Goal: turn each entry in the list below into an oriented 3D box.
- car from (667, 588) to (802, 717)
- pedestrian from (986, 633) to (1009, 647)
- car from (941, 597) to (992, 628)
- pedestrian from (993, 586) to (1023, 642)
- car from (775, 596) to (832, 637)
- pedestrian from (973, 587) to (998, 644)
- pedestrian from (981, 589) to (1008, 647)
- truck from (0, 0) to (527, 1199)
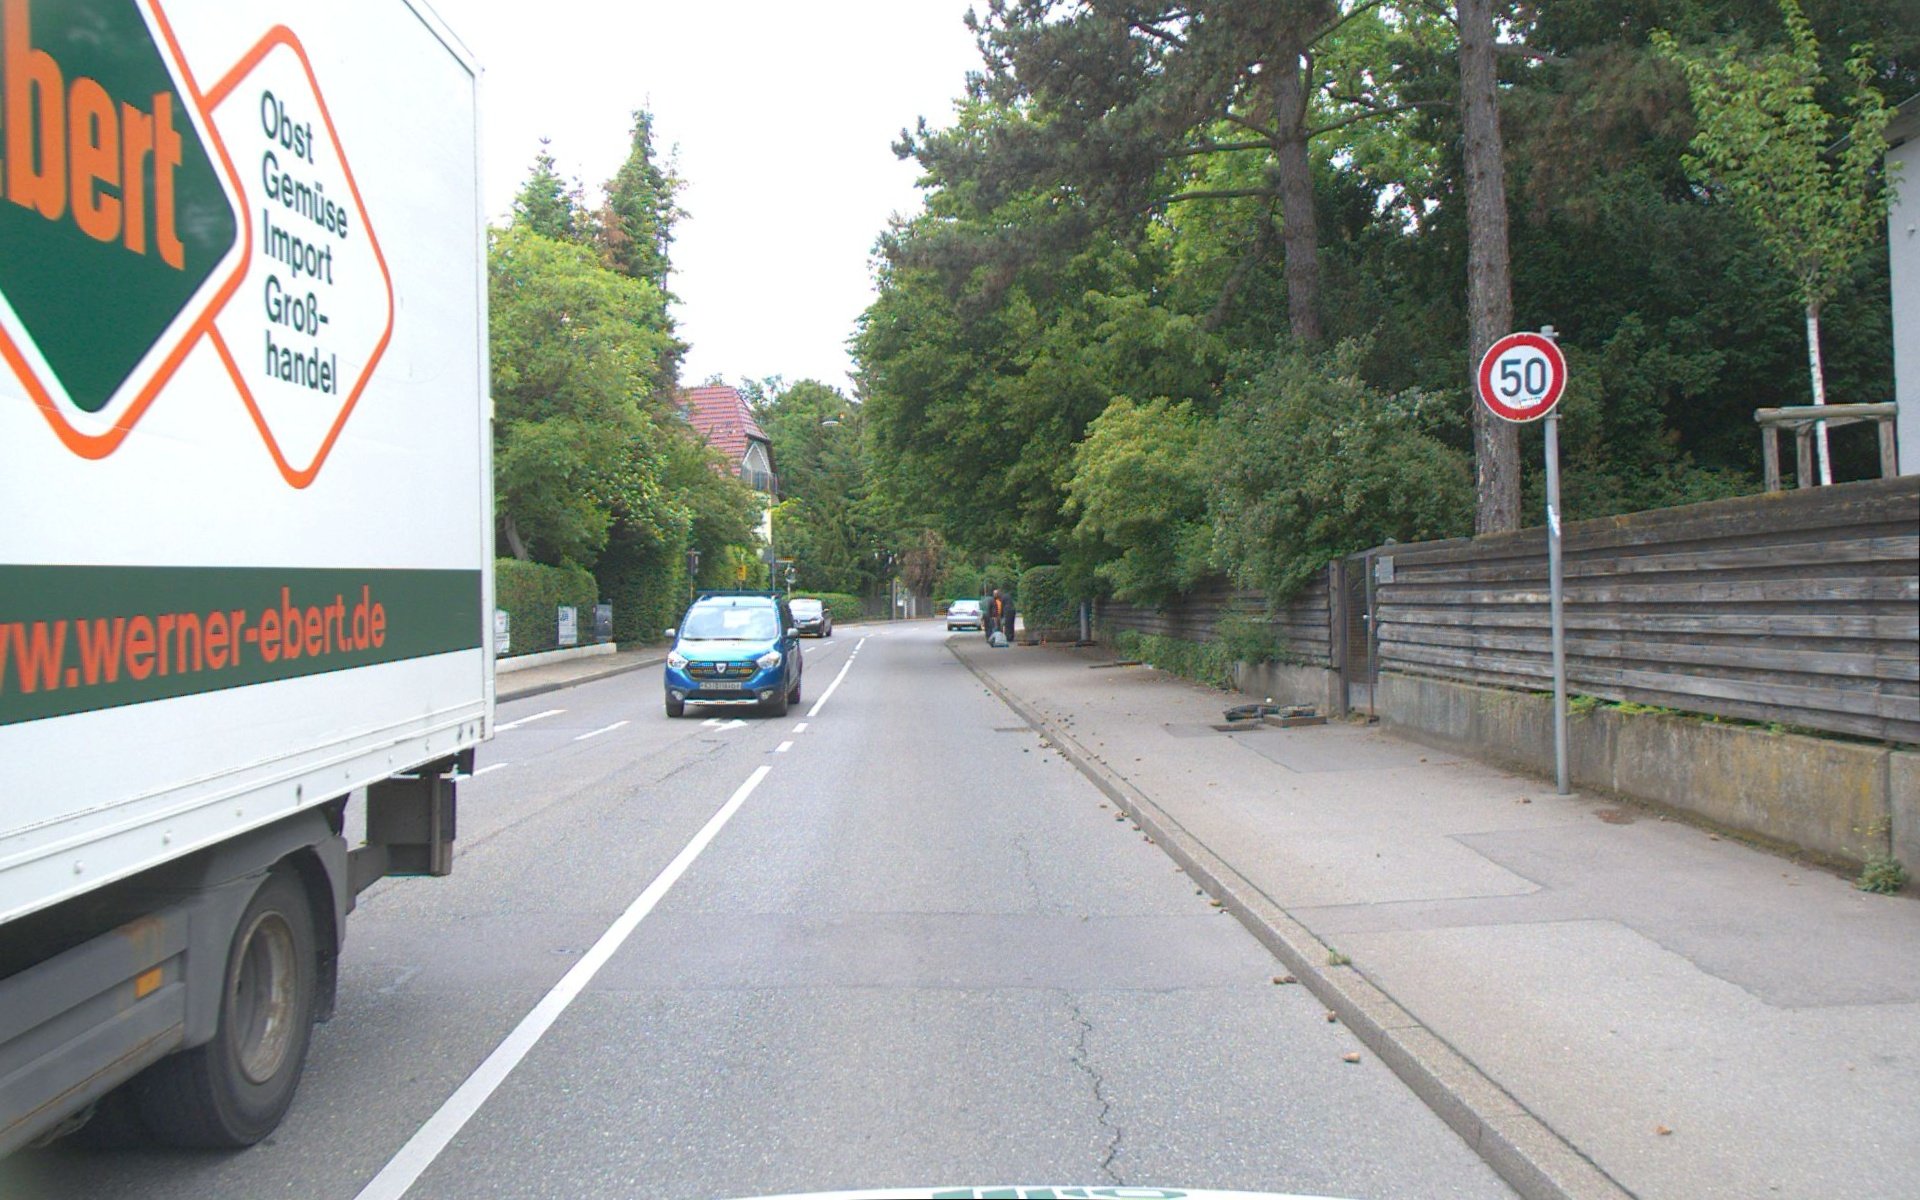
[{"bbox_3d":[-3.273,0.722,24.655,1.770,1.747,4.373,0,0,-5],"label":"car"},{"bbox_3d":[1.159,1.240,50.968,0.659,0.400,0.740,-1,0,-3],"label":"pedestrian"},{"bbox_3d":[0.350,0.642,80.415,1.758,1.440,4.339,-1,-2,10],"label":"car"},{"bbox_3d":[1.588,0.452,54.443,0.685,1.839,0.663,-1,-1,-43],"label":"pedestrian"},{"bbox_3d":[-6.002,0.635,63.811,1.645,1.497,4.019,-1,0,3],"label":"car"},{"bbox_3d":[0.845,0.505,54.256,0.590,1.839,0.516,-1,-1,38],"label":"pedestrian"},{"bbox_3d":[1.092,0.574,52.597,0.791,1.839,0.740,-1,-1,-3],"label":"pedestrian"},{"bbox_3d":[-3.073,-0.457,3.063,2.721,3.522,7.490,-1,-1,-2],"label":"truck"}]
